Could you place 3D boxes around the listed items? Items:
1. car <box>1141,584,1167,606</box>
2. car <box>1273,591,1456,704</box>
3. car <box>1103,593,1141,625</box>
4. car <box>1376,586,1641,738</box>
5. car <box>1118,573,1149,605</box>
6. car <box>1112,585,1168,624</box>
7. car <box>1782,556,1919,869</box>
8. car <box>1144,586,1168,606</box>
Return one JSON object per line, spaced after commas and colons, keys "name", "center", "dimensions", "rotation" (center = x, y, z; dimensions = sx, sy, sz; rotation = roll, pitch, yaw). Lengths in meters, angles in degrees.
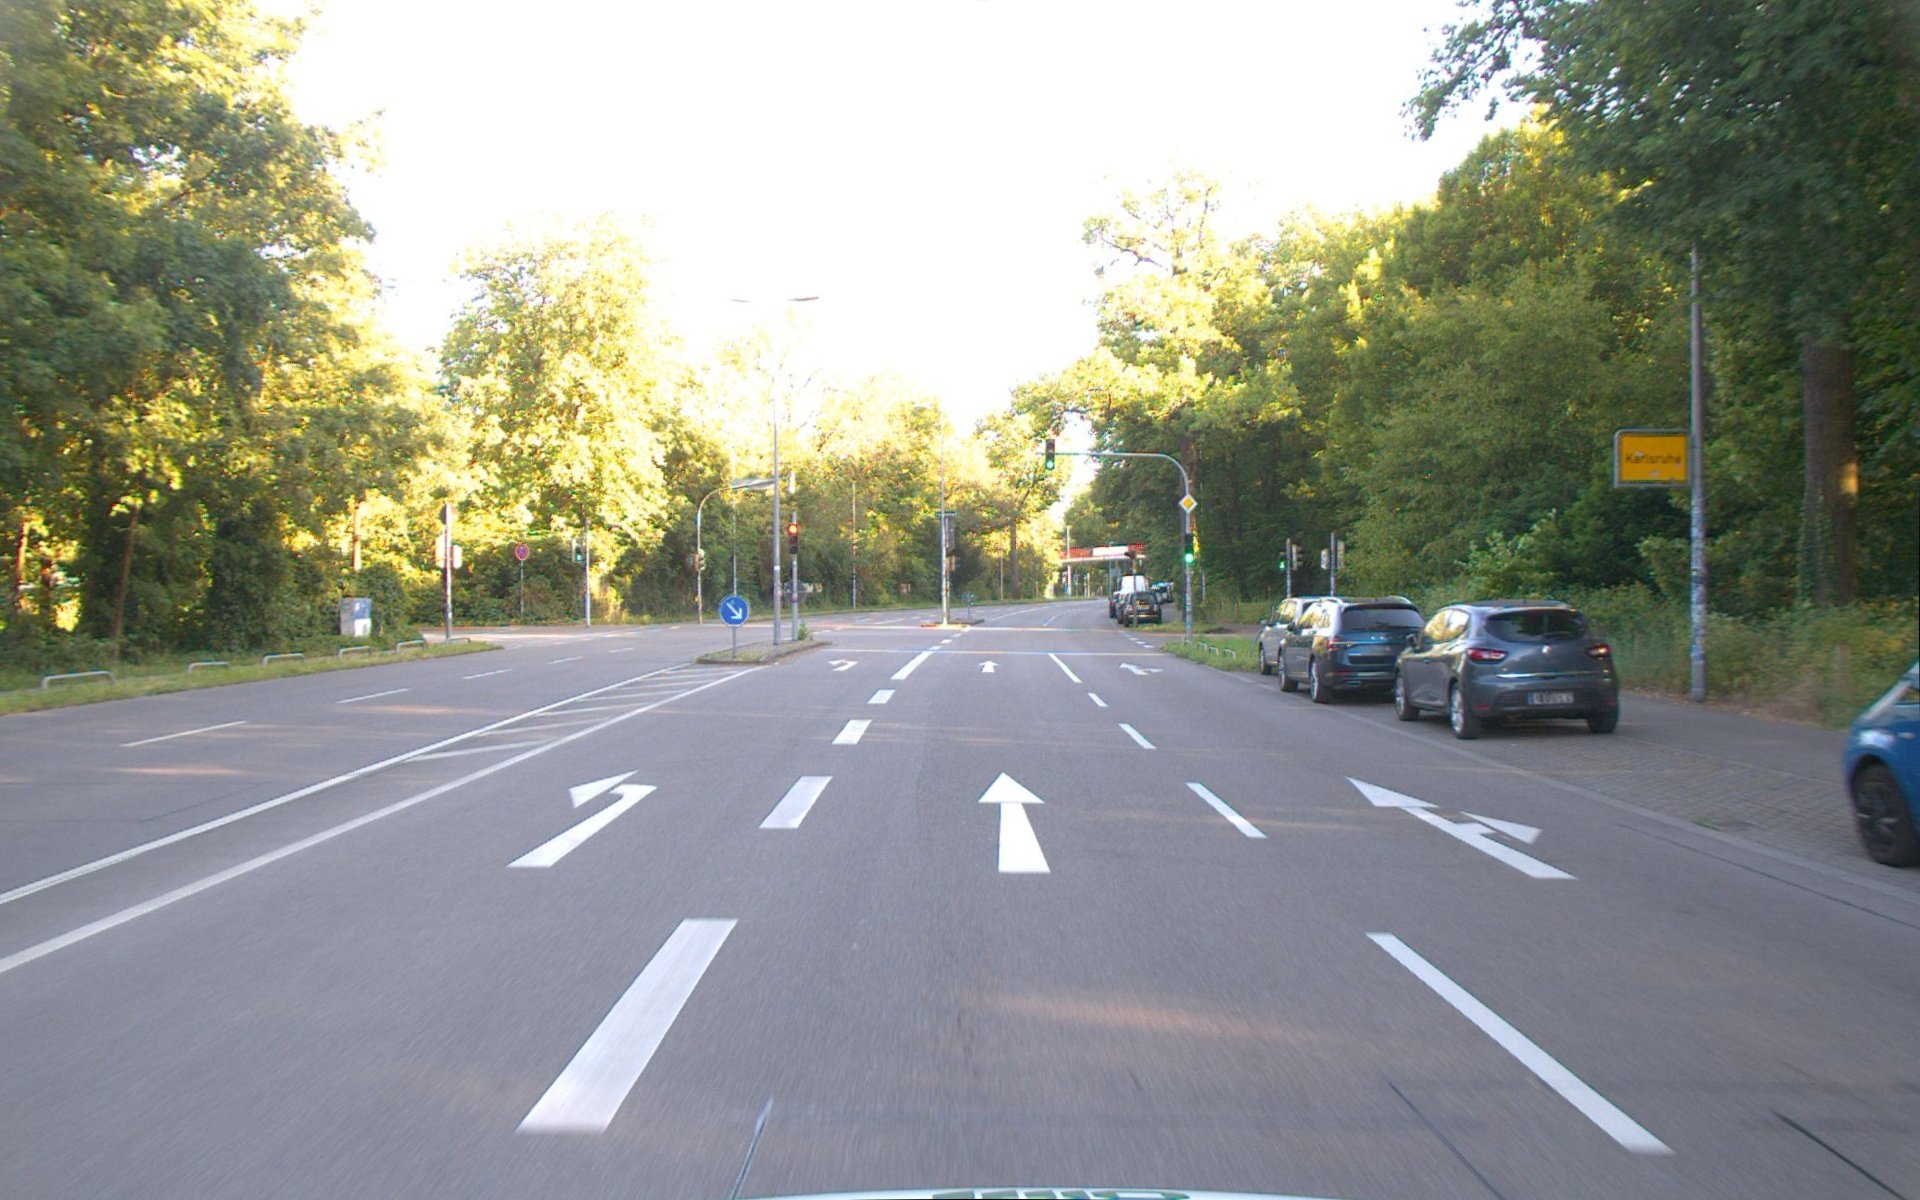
{"name": "car", "center": [17.938, -0.476, 153.121], "dimensions": [1.952, 1.937, 4.001], "rotation": [0, 0, 1]}
{"name": "car", "center": [5.939, 0.639, 24.747], "dimensions": [1.692, 1.487, 4.167], "rotation": [-2, 0, 0]}
{"name": "car", "center": [9.123, 0.494, 93.392], "dimensions": [1.952, 1.646, 4.002], "rotation": [-3, 0, 4]}
{"name": "car", "center": [6.220, 0.626, 19.245], "dimensions": [1.692, 1.516, 4.090], "rotation": [-2, 0, 0]}
{"name": "car", "center": [13.339, -0.861, 127.163], "dimensions": [2.259, 2.376, 4.562], "rotation": [0, 0, 4]}
{"name": "car", "center": [7.786, 0.178, 71.864], "dimensions": [1.953, 1.646, 3.999], "rotation": [0, 0, -1]}
{"name": "car", "center": [6.165, 0.623, 8.608], "dimensions": [1.692, 1.734, 4.089], "rotation": [0, 0, -1]}
{"name": "car", "center": [19.056, -0.382, 160.834], "dimensions": [1.952, 1.937, 4.001], "rotation": [0, 0, 1]}
